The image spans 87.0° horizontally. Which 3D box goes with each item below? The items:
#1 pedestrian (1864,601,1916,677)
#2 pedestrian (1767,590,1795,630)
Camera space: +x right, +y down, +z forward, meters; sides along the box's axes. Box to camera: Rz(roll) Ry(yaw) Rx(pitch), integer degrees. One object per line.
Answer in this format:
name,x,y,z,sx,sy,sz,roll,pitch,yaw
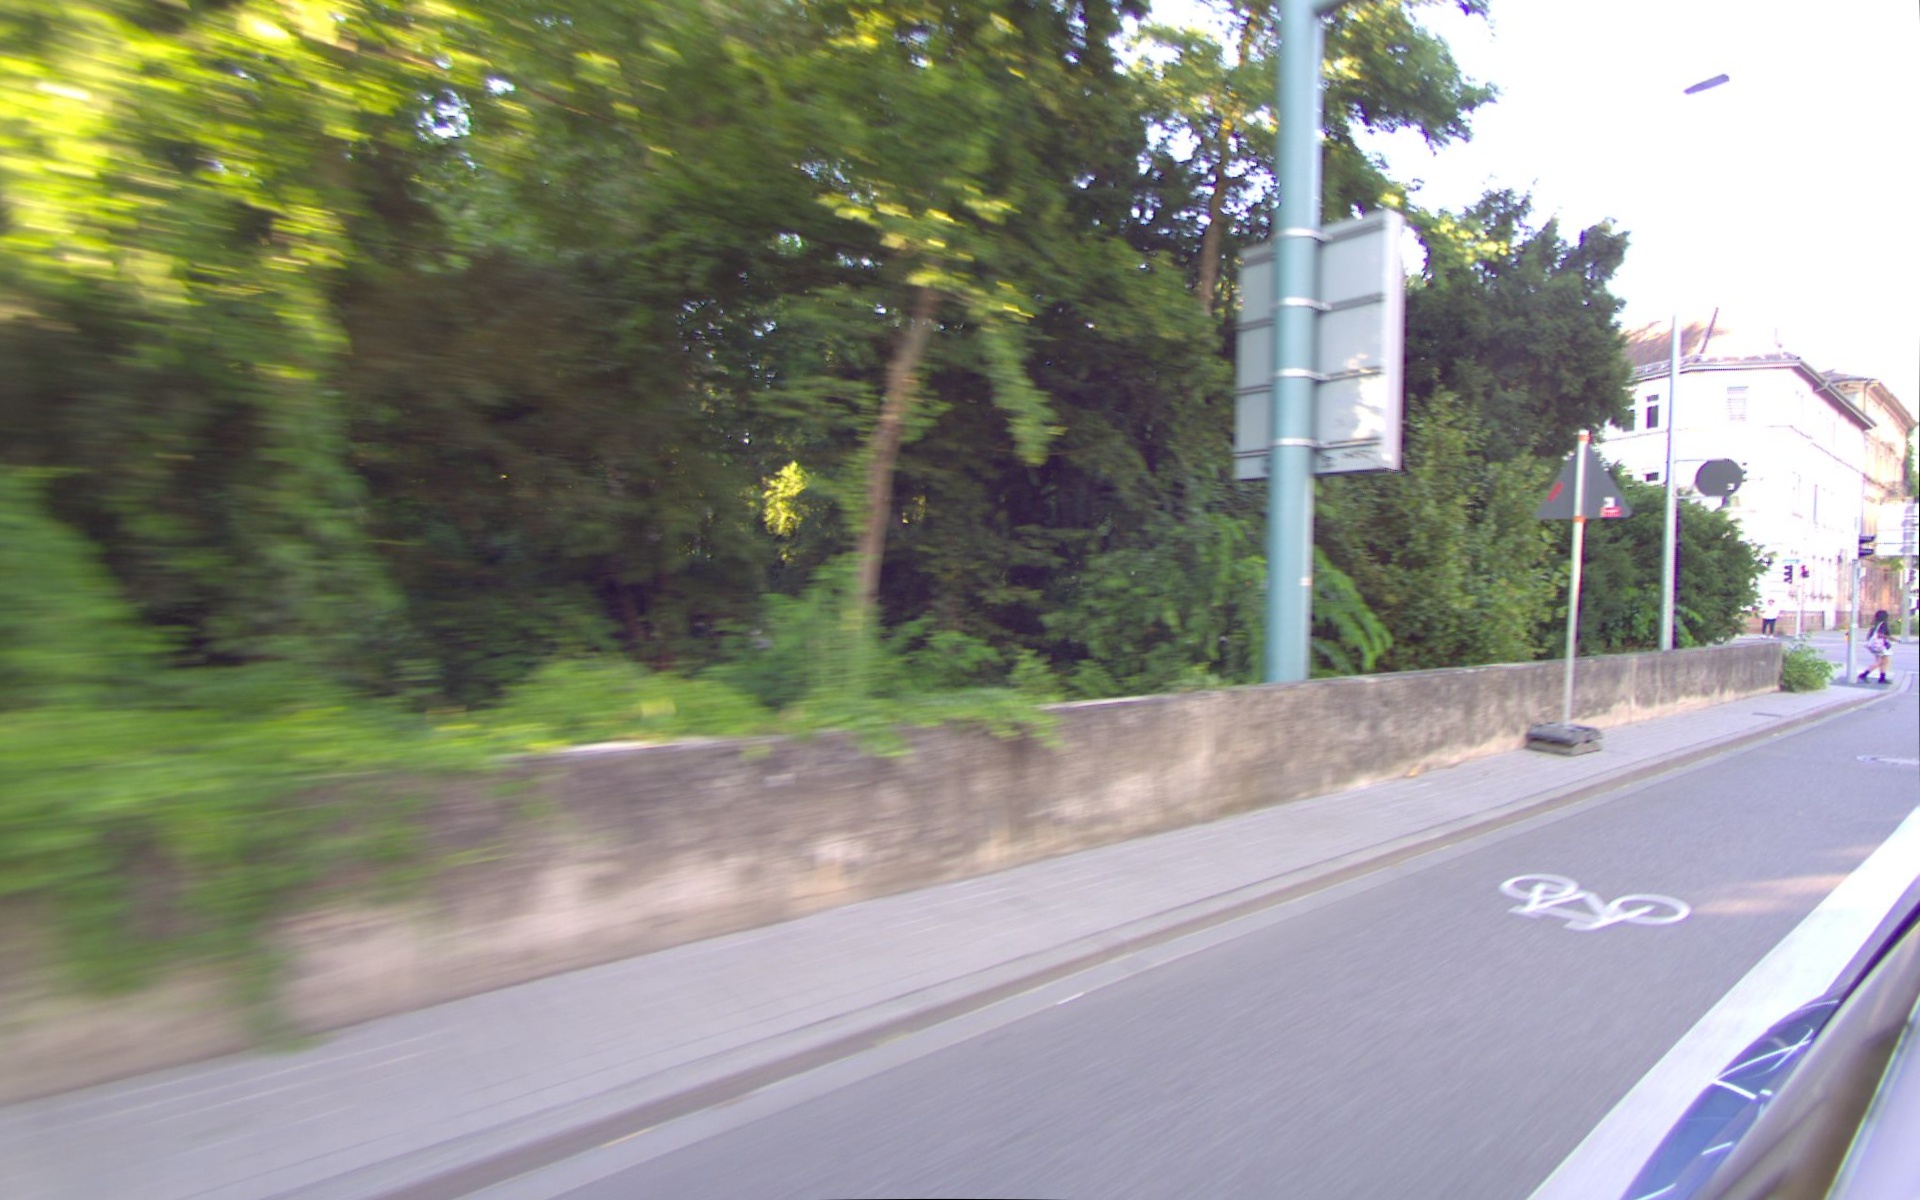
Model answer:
pedestrian,19.565,0.809,21.288,0.607,1.521,0.581,1,4,-34
pedestrian,35.233,0.418,43.436,0.812,1.677,0.630,2,1,30
